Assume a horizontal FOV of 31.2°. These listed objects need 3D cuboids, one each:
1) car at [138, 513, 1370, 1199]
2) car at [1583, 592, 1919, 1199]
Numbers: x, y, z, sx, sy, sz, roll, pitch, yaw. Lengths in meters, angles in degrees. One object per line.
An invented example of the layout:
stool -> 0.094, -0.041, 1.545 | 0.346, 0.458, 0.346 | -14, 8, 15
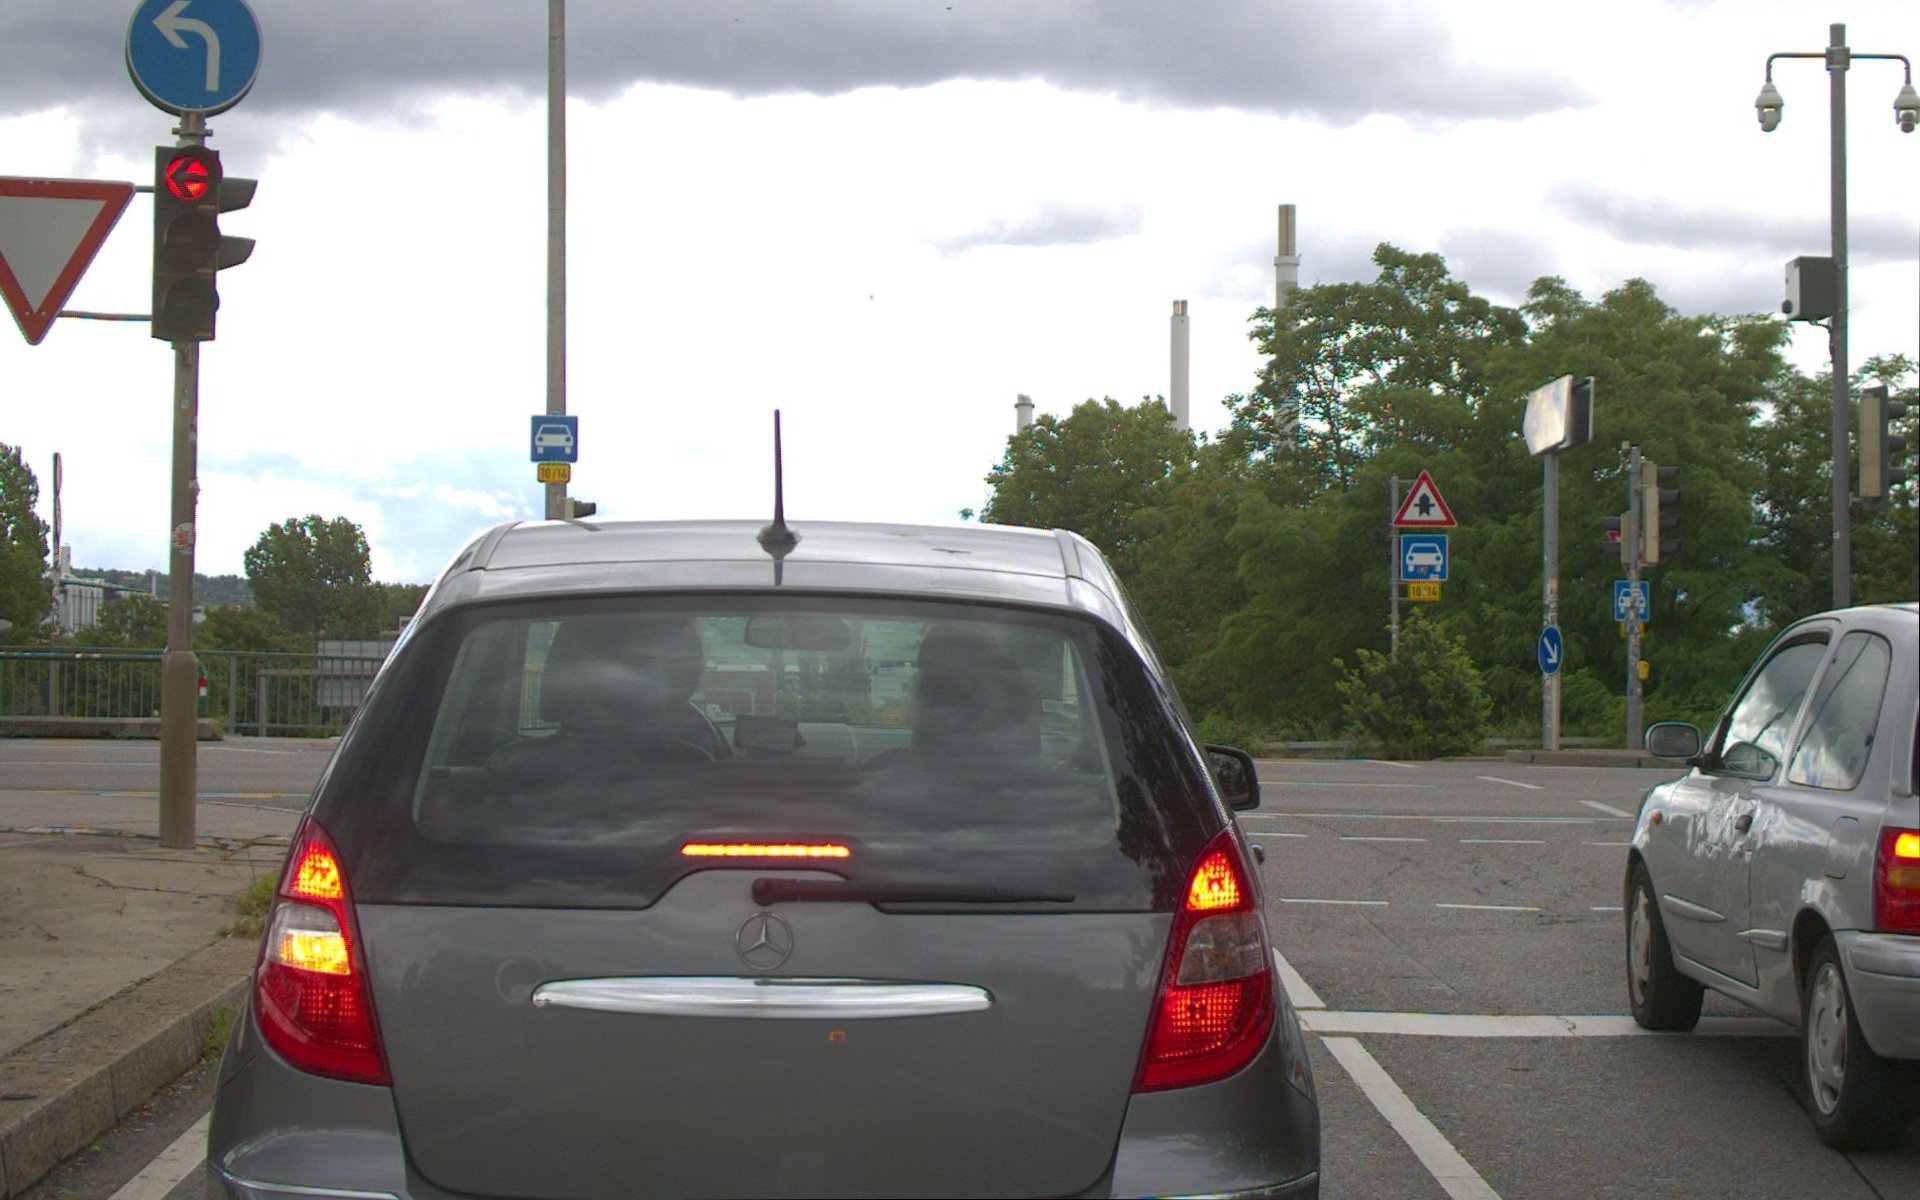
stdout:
car -> -0.311, 0.639, 6.662 | 1.739, 1.538, 3.541 | 1, 1, 0
car -> 2.943, 0.710, 9.879 | 1.585, 1.427, 3.443 | 0, 1, -2
